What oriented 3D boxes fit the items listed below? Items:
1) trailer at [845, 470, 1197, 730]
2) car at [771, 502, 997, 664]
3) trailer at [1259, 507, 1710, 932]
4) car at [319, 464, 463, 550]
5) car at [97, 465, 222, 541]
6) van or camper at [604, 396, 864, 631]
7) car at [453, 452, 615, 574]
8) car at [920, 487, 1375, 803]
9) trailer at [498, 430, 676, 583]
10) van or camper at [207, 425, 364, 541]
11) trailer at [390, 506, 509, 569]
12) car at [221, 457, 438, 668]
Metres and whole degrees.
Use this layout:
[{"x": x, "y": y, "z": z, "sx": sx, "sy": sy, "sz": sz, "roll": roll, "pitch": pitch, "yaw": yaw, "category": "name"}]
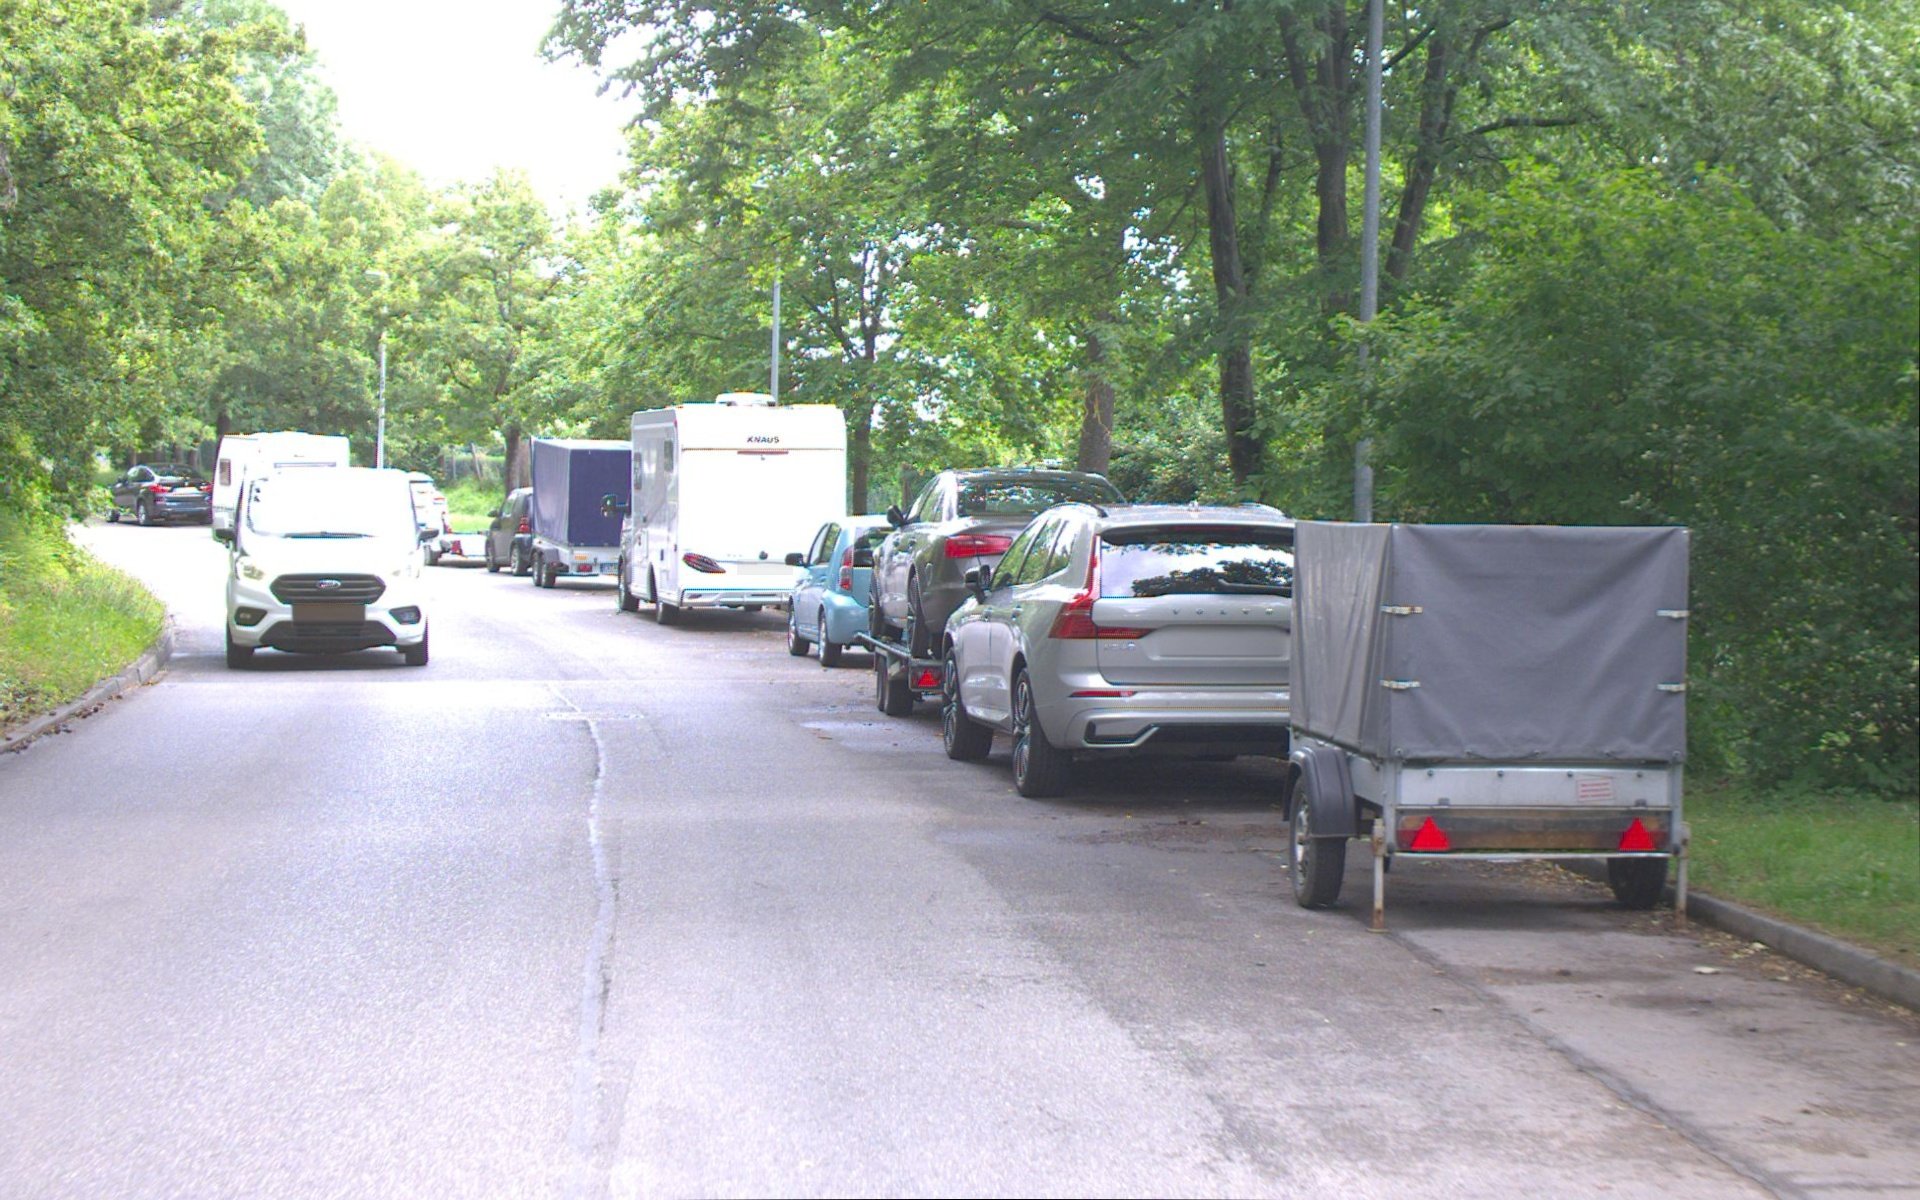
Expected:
[{"x": 0.347, "y": -0.092, "z": 26.657, "sx": 1.978, "sy": 1.805, "sz": 5.150, "roll": 1, "pitch": 2, "yaw": -7, "category": "trailer"}, {"x": -0.851, "y": -0.218, "z": 35.961, "sx": 1.799, "sy": 1.556, "sz": 3.837, "roll": 0, "pitch": 2, "yaw": -10, "category": "car"}, {"x": 2.091, "y": 0.426, "z": 14.216, "sx": 1.278, "sy": 1.579, "sz": 2.461, "roll": 1, "pitch": 1, "yaw": -4, "category": "trailer"}, {"x": -12.370, "y": -2.036, "z": 74.533, "sx": 2.034, "sy": 1.797, "sz": 4.084, "roll": 0, "pitch": 2, "yaw": -25, "category": "car"}, {"x": -21.294, "y": -2.603, "z": 91.346, "sx": 1.994, "sy": 1.863, "sz": 4.000, "roll": -2, "pitch": 4, "yaw": -33, "category": "car"}, {"x": -3.156, "y": -1.160, "z": 46.185, "sx": 2.481, "sy": 2.866, "sz": 6.892, "roll": 1, "pitch": 1, "yaw": -12, "category": "van or camper"}, {"x": -7.710, "y": -1.609, "z": 61.928, "sx": 1.993, "sy": 2.019, "sz": 4.002, "roll": -2, "pitch": 4, "yaw": -20, "category": "car"}, {"x": 0.982, "y": 0.242, "z": 20.530, "sx": 1.791, "sy": 1.664, "sz": 4.503, "roll": 1, "pitch": 0, "yaw": -9, "category": "car"}, {"x": -6.186, "y": -1.540, "z": 56.627, "sx": 1.993, "sy": 2.390, "sz": 4.001, "roll": 1, "pitch": 1, "yaw": -20, "category": "trailer"}, {"x": -16.199, "y": -2.823, "z": 82.379, "sx": 2.526, "sy": 2.688, "sz": 4.576, "roll": -1, "pitch": 3, "yaw": -27, "category": "van or camper"}, {"x": -9.769, "y": -1.218, "z": 65.592, "sx": 1.651, "sy": 1.083, "sz": 4.002, "roll": -1, "pitch": 3, "yaw": -17, "category": "trailer"}, {"x": -6.399, "y": -0.422, "z": 35.299, "sx": 1.947, "sy": 1.977, "sz": 4.503, "roll": 1, "pitch": 1, "yaw": -8, "category": "car"}]
